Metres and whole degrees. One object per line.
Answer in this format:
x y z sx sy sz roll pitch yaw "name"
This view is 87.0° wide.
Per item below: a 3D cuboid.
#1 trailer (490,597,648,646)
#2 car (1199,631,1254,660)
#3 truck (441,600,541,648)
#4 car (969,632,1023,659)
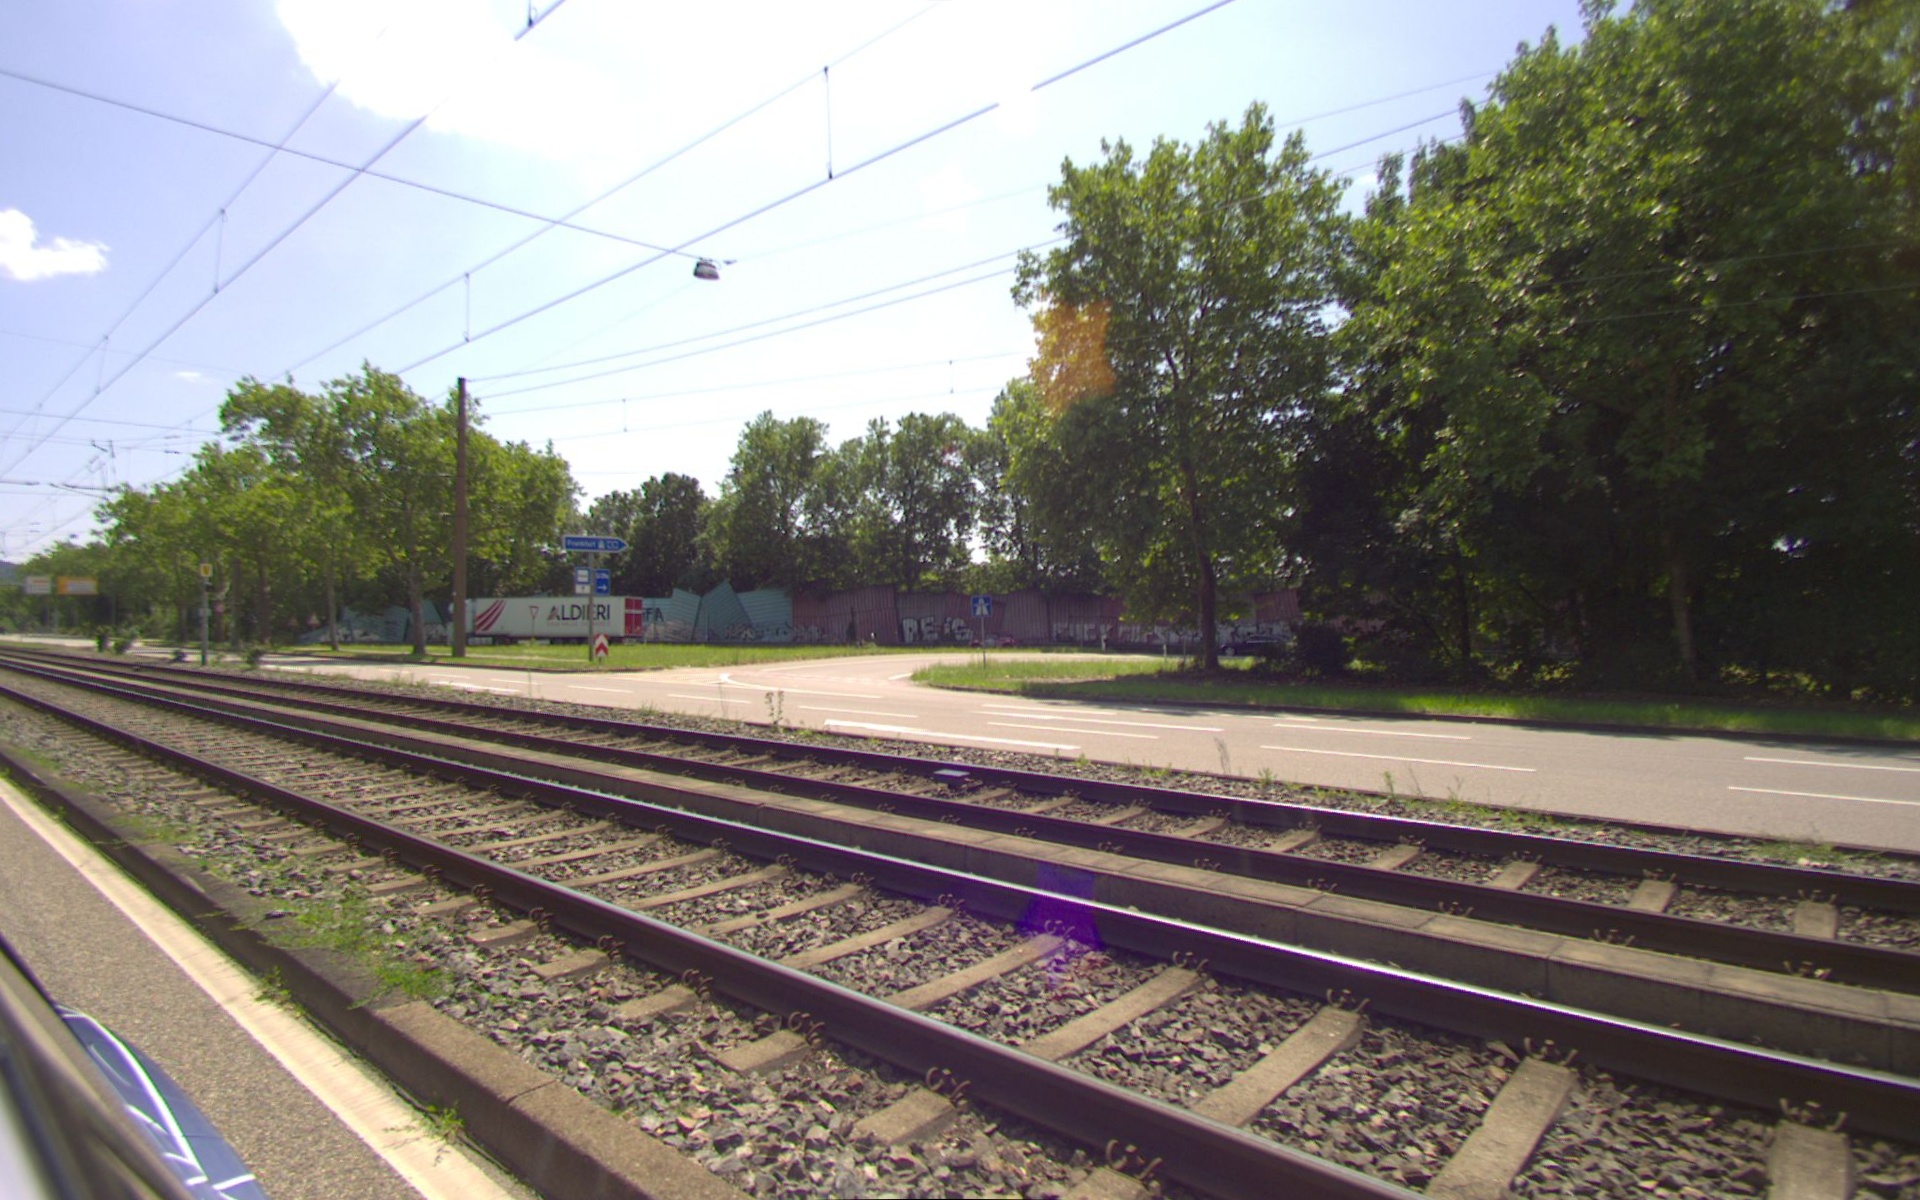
-30.603 1.757 79.177 11.999 3.683 3.371 -1 -2 16 "trailer"
17.056 2.875 64.785 3.369 1.806 1.557 -1 -2 16 "car"
-37.596 1.912 81.166 6.697 3.730 3.402 -1 -2 15 "truck"
2.451 3.095 68.894 3.369 1.806 1.557 -1 -2 16 "car"
